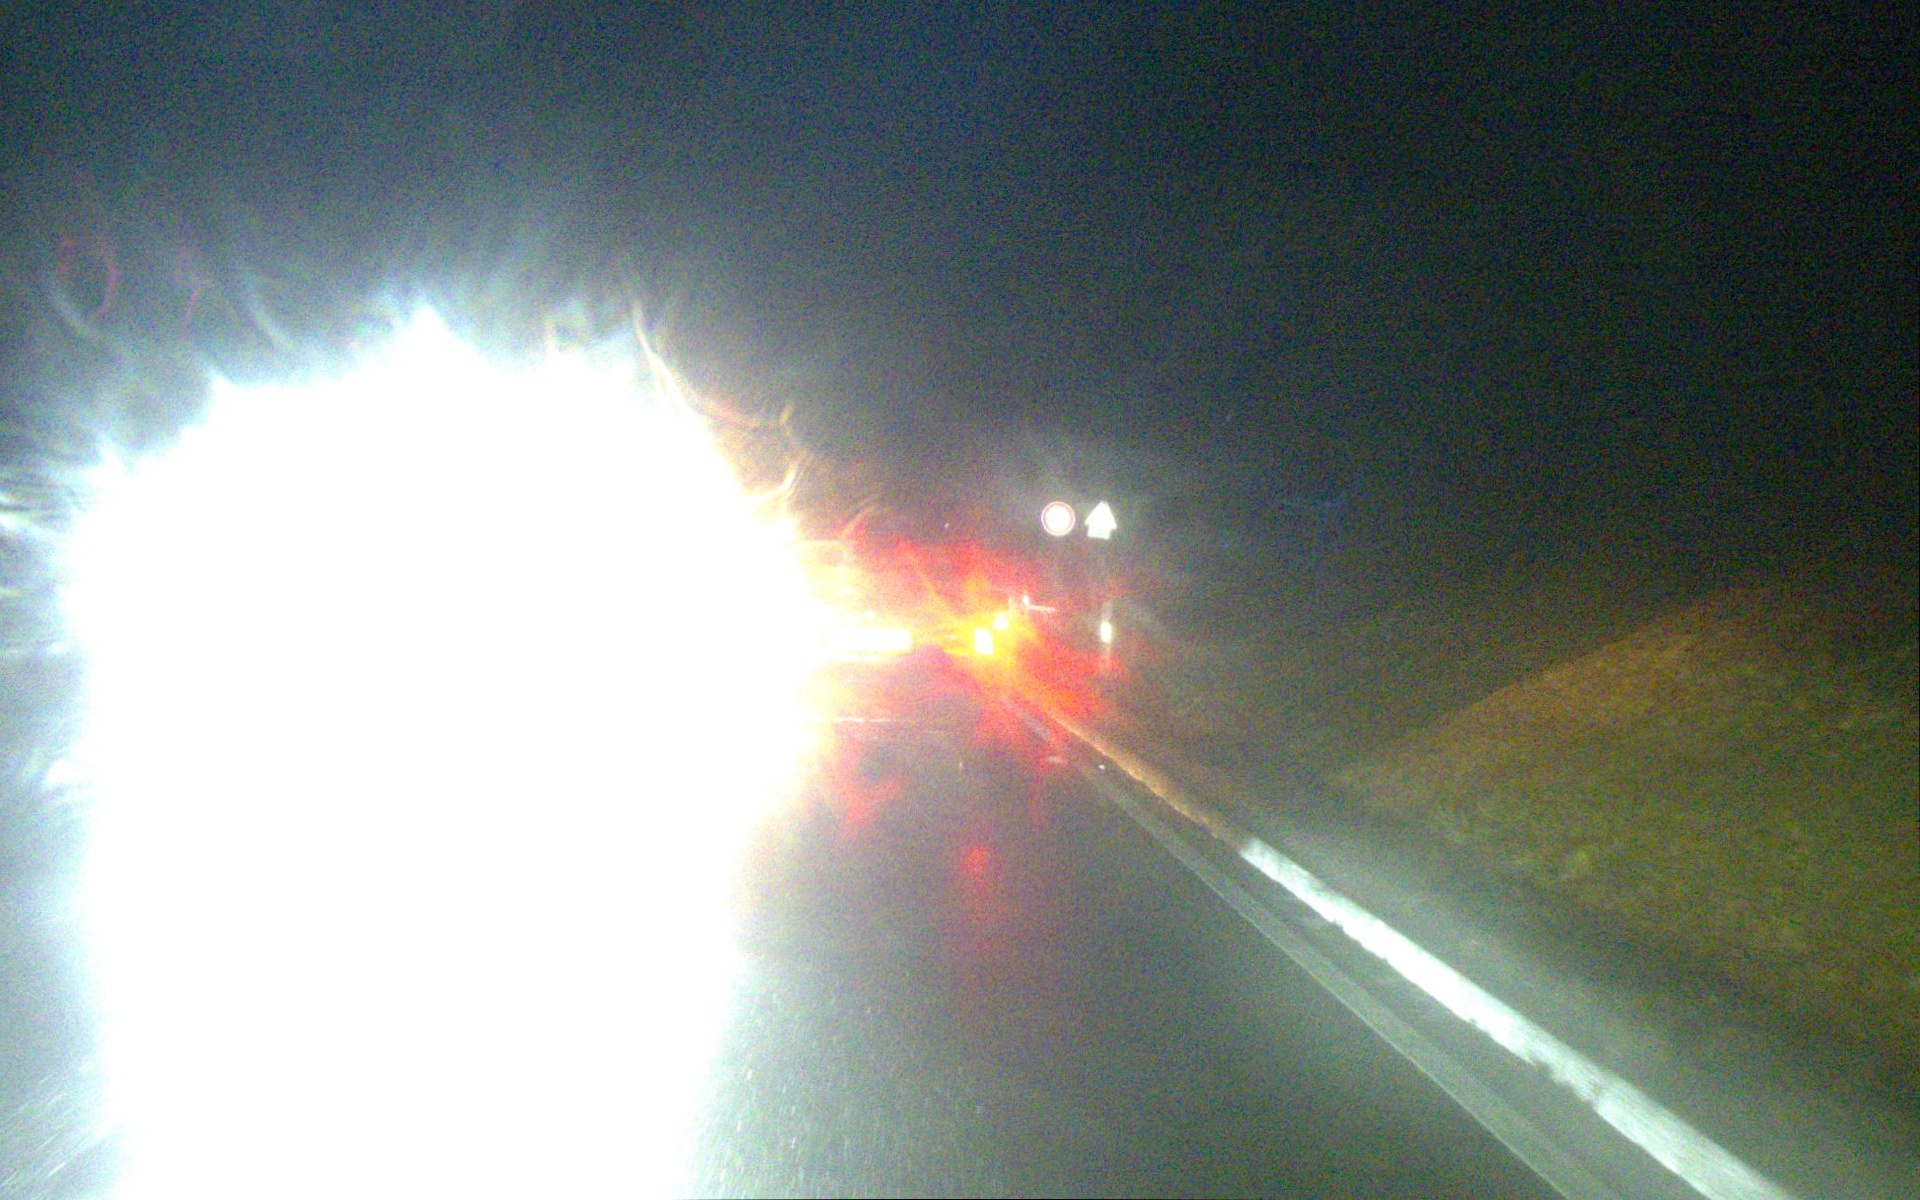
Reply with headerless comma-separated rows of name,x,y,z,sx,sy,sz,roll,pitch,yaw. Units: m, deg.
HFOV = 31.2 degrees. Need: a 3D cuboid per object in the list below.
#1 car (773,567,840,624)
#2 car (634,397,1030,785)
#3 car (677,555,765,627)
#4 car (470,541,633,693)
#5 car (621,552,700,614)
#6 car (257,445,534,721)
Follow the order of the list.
car,-4.168,-0.112,93.689,1.660,1.476,3.585,2,0,0
car,-0.938,-0.117,25.355,2.538,2.489,5.715,-1,1,-2
car,-5.159,-0.189,74.575,1.660,1.476,3.585,2,0,0
car,-5.439,0.220,46.178,1.891,1.904,3.796,2,0,-3
car,-7.507,-0.412,86.441,1.660,1.476,3.585,2,0,0
car,-4.580,-0.132,28.424,1.993,2.060,4.001,2,0,-6
